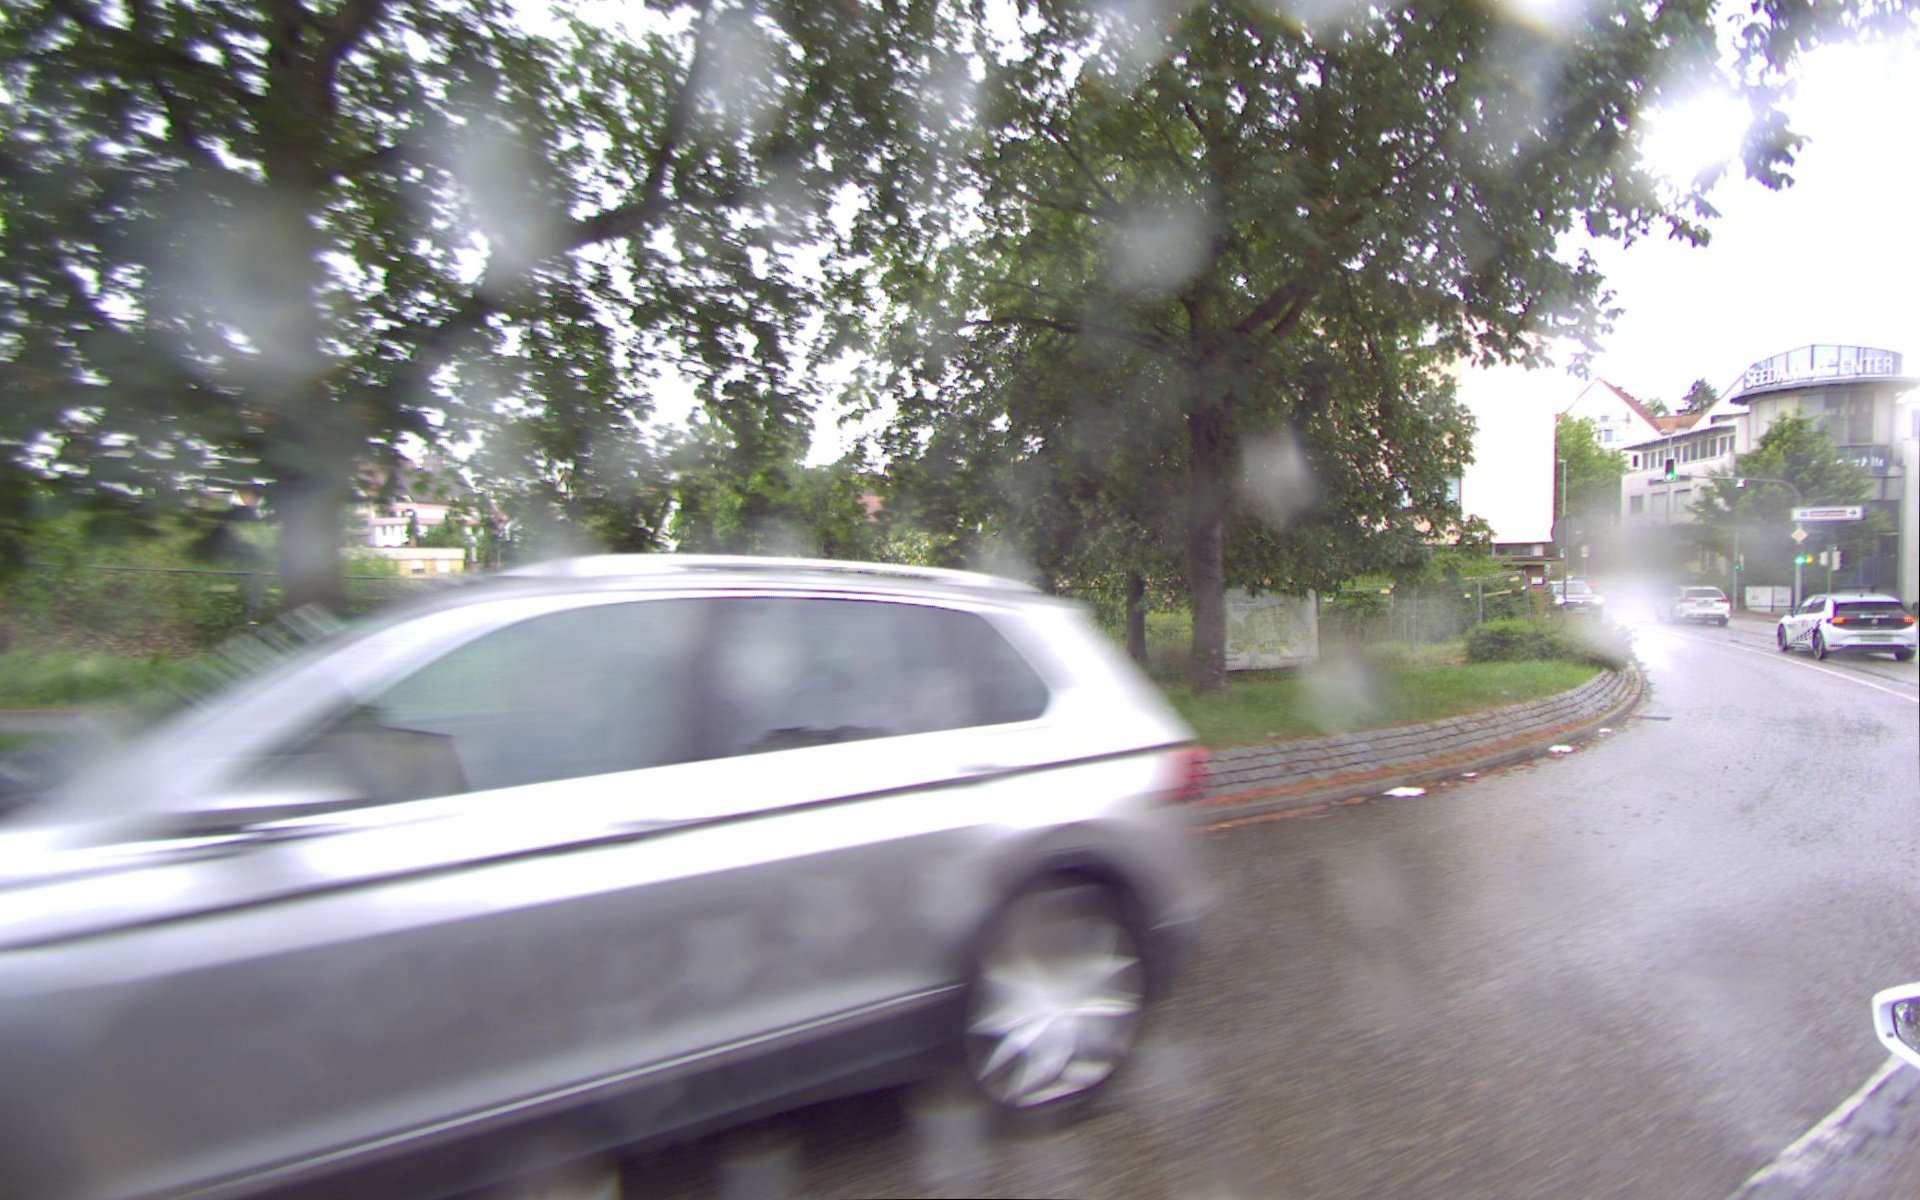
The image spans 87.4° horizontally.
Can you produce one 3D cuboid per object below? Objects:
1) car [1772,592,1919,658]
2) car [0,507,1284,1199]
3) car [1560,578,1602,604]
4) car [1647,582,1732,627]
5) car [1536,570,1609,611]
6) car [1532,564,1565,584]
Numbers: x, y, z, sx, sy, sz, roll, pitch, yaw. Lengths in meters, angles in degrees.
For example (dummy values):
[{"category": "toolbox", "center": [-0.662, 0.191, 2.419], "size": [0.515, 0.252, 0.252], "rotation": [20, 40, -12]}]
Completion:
[{"category": "car", "center": [21.825, 0.539, 24.870], "size": [1.790, 1.378, 3.984], "rotation": [0, 2, 26]}, {"category": "car", "center": [-1.142, 0.669, 2.848], "size": [4.257, 1.563, 1.717], "rotation": [1, -1, -35]}, {"category": "car", "center": [41.015, -0.623, 66.445], "size": [1.863, 1.612, 3.685], "rotation": [-1, 1, 24]}, {"category": "car", "center": [28.292, 0.172, 39.078], "size": [1.700, 1.611, 4.182], "rotation": [1, 0, 22]}, {"category": "car", "center": [26.423, -0.412, 43.489], "size": [1.863, 1.616, 4.354], "rotation": [-3, 0, 21]}, {"category": "car", "center": [52.518, -2.326, 89.691], "size": [1.821, 1.663, 3.538], "rotation": [-1, 2, 17]}]
